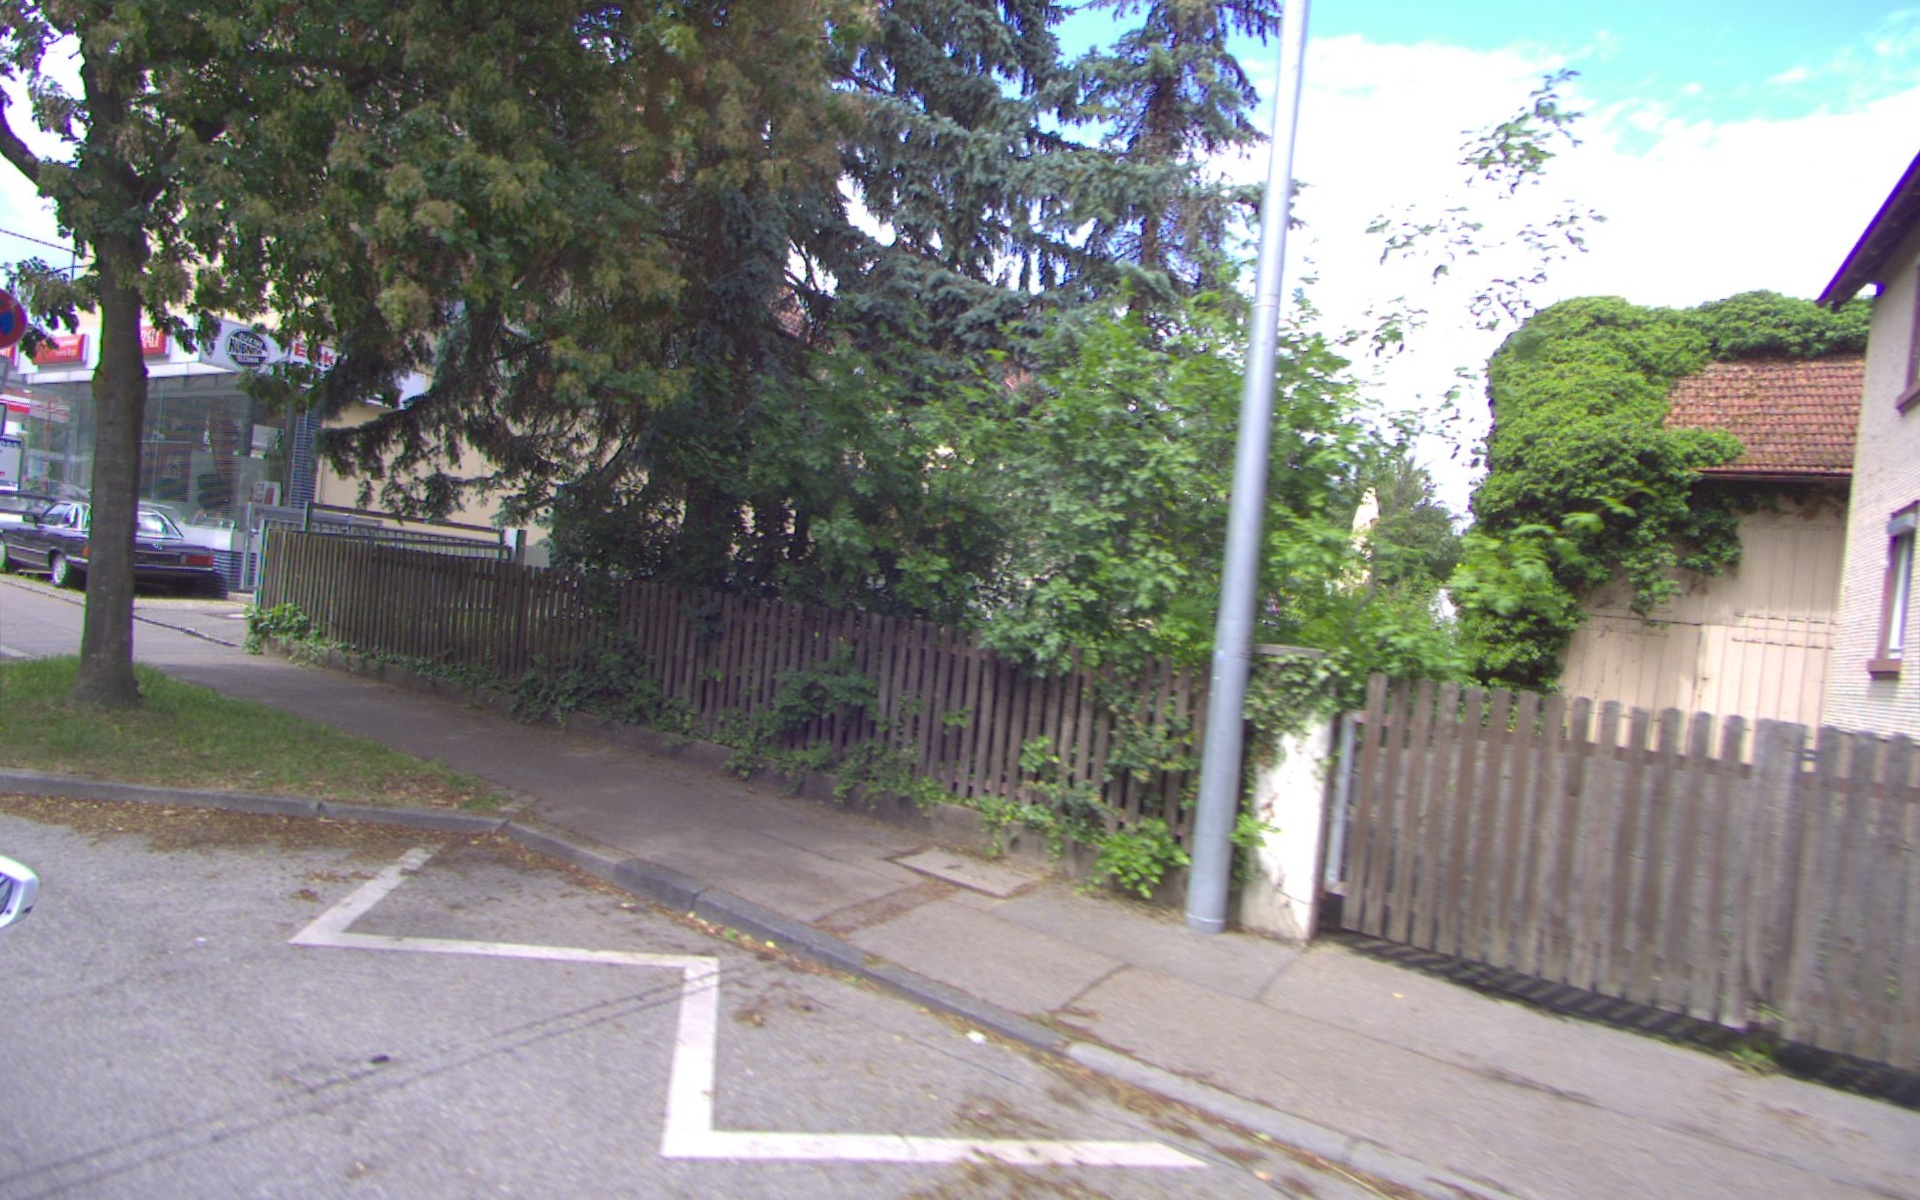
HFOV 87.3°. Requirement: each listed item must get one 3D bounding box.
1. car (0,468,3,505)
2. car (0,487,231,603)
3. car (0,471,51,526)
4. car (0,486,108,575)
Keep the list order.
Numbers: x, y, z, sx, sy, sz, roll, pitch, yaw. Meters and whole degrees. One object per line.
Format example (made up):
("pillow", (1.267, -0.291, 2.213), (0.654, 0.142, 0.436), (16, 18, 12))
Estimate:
("car", (-45.276, -5.307, 45.466), (3.627, 1.657, 1.785), (7, 3, 27))
("car", (-13.674, -0.905, 15.969), (4.194, 1.332, 1.727), (7, -1, 29))
("car", (-28.003, -3.044, 28.599), (3.998, 1.372, 1.845), (7, 0, 27))
("car", (-17.873, -1.434, 18.570), (4.407, 1.380, 1.726), (7, 0, 29))
